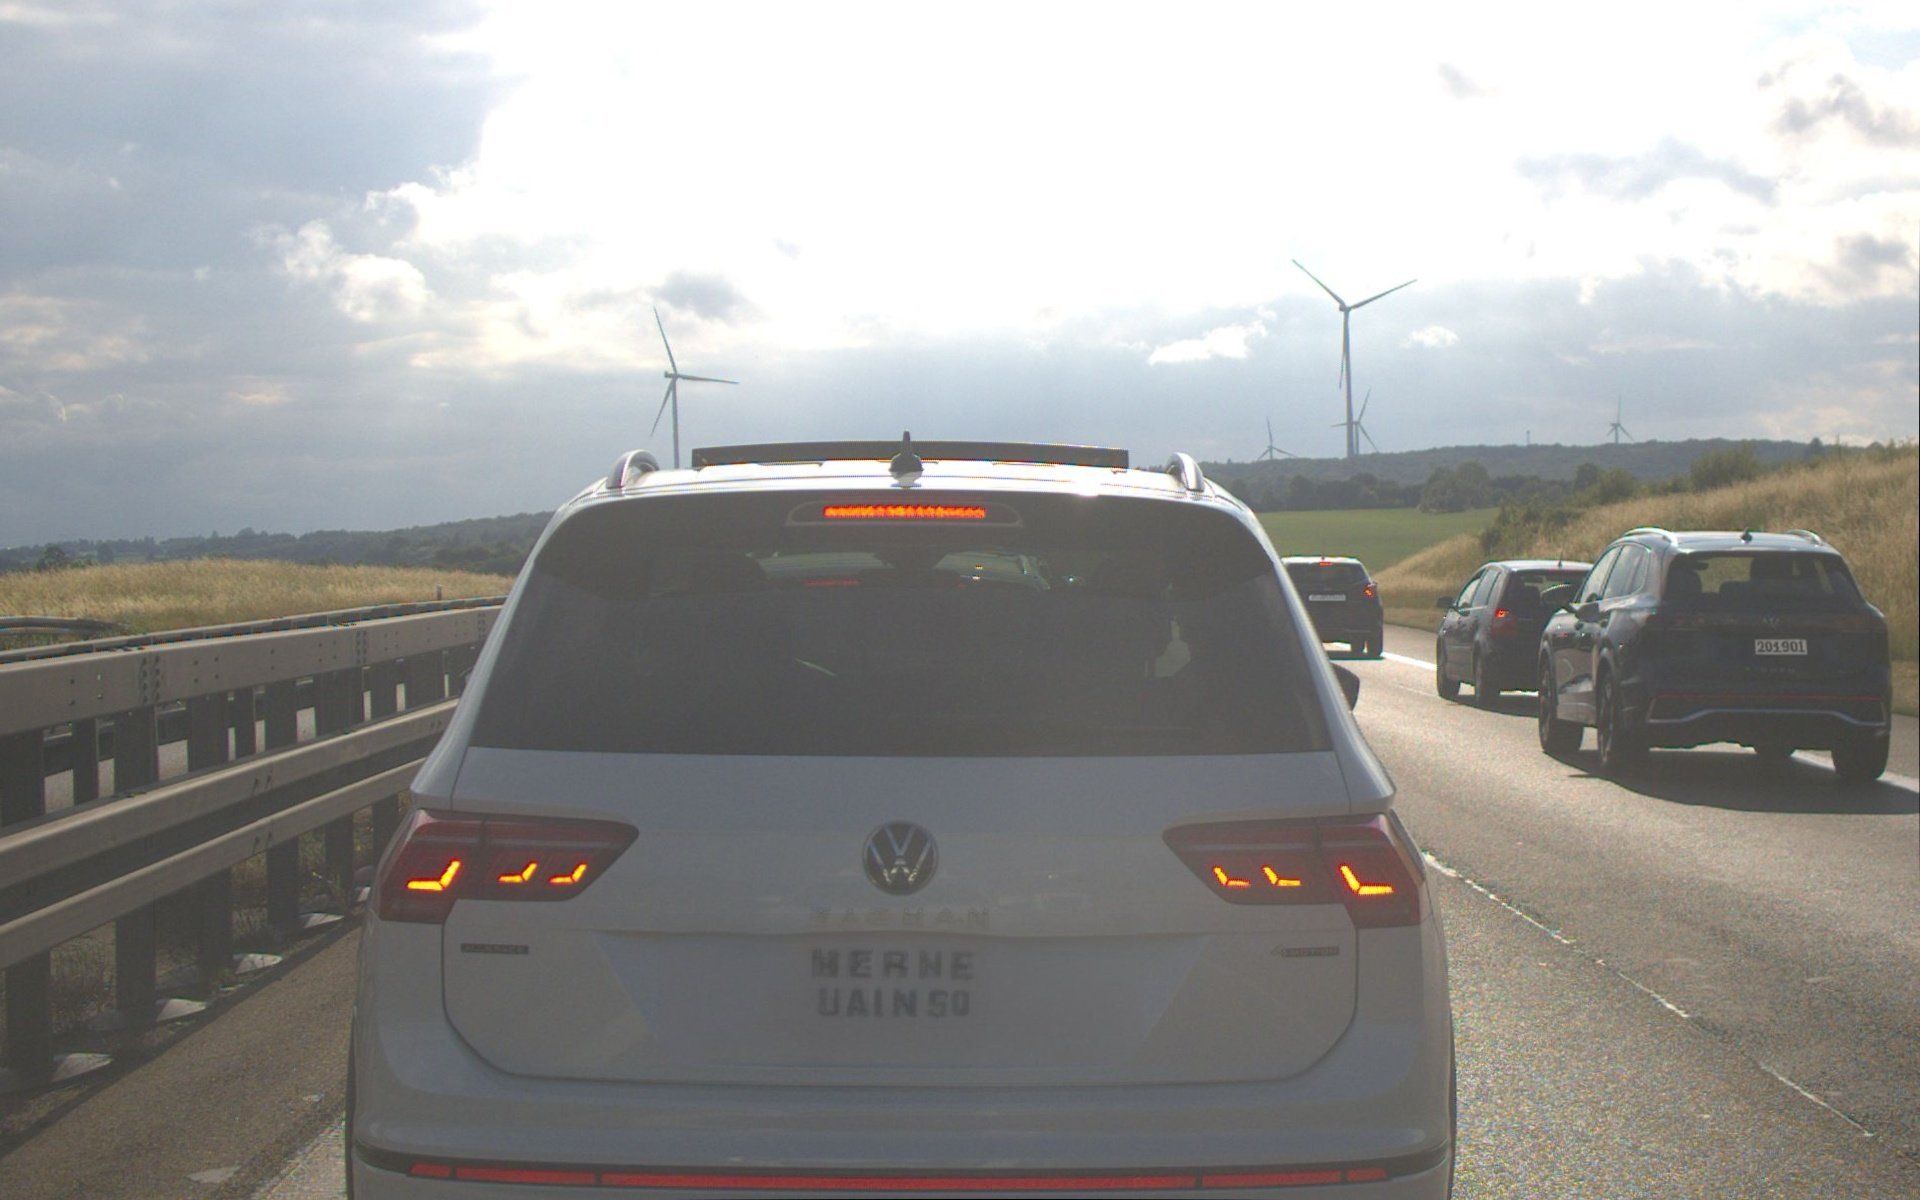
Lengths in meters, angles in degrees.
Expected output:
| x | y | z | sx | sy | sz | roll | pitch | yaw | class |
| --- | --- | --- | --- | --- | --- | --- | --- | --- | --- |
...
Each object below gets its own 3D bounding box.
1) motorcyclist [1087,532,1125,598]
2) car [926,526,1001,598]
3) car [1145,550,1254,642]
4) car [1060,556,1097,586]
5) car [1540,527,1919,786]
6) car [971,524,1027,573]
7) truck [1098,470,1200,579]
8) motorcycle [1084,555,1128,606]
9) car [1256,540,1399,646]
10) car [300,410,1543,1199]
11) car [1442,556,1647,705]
| x | y | z | sx | sy | sz | roll | pitch | yaw | class |
| --- | --- | --- | --- | --- | --- | --- | --- | --- | --- |
| 3.454 | -0.819 | 81.434 | 0.849 | 1.554 | 0.934 | 0 | 0 | -1 | motorcyclist |
| 0.063 | -0.881 | 80.187 | 1.704 | 1.644 | 4.000 | 0 | 1 | -1 | car |
| 4.426 | -0.093 | 63.896 | 1.704 | 1.644 | 4.000 | 0 | 1 | -1 | car |
| 6.029 | -1.495 | 175.656 | 1.704 | 1.540 | 4.000 | 0 | 1 | -1 | car |
| 5.266 | 0.339 | 23.949 | 1.821 | 1.596 | 4.235 | 2 | 1 | 2 | car |
| 1.230 | -1.650 | 110.123 | 1.704 | 1.540 | 4.000 | 0 | 1 | -1 | car |
| 6.451 | -2.622 | 119.065 | 3.184 | 3.581 | 11.130 | 0 | 1 | 1 | truck |
| 3.452 | -0.464 | 81.482 | 0.895 | 1.186 | 2.257 | 0 | 1 | -1 | motorcycle |
| 5.521 | -0.121 | 52.032 | 1.704 | 1.540 | 4.000 | 0 | 1 | -1 | car |
| -0.074 | 0.543 | 6.898 | 1.770 | 1.670 | 4.000 | 0 | 1 | -1 | car |
| 5.811 | 0.272 | 34.530 | 1.606 | 1.415 | 3.672 | 0 | 1 | 3 | car |
